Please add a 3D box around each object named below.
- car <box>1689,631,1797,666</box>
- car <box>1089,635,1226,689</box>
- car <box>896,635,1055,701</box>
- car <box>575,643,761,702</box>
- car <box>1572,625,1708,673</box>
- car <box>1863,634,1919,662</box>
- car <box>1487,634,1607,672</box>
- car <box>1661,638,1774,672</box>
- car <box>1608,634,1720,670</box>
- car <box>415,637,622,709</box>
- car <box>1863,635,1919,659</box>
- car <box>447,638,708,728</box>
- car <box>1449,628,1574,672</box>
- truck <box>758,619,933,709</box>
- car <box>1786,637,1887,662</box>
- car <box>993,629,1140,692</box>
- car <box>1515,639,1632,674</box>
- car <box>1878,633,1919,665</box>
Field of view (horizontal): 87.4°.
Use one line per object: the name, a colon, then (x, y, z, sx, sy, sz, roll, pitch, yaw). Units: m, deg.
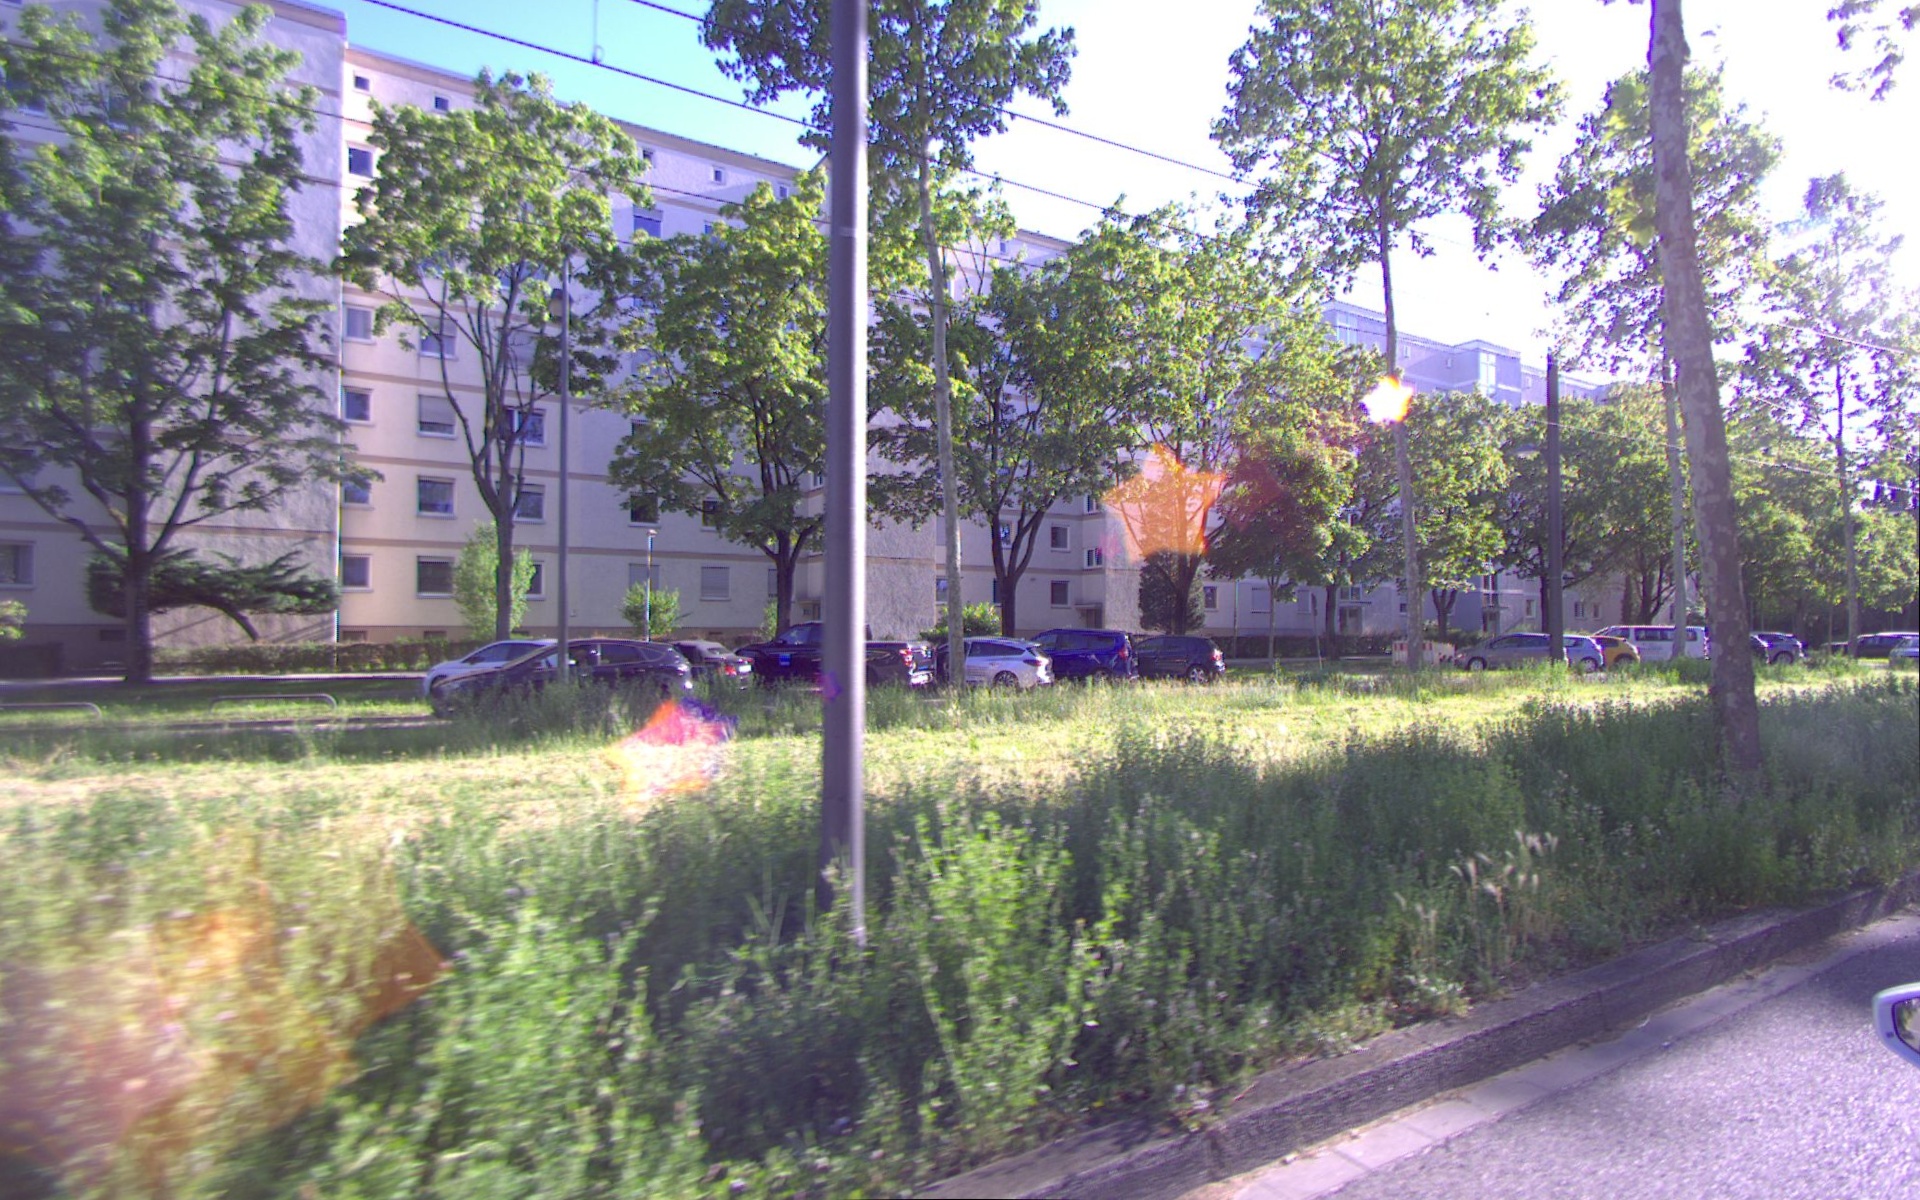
car: (38.580, 2.360, 49.550, 4.028, 1.628, 1.983, -2, -1, 43)
car: (6.092, 1.894, 30.945, 4.002, 1.496, 1.652, -1, 2, 14)
car: (0.452, 1.799, 26.860, 4.002, 1.667, 1.653, 0, -3, 12)
car: (-6.739, 1.653, 23.266, 3.750, 1.263, 1.841, -1, -2, 19)
car: (30.091, 2.137, 44.618, 4.706, 2.033, 1.891, -1, -1, 23)
car: (58.321, 2.950, 61.645, 3.900, 1.697, 1.788, -1, -2, 18)
car: (24.200, 2.177, 41.536, 4.004, 1.502, 1.652, -1, -2, 19)
car: (36.095, 2.604, 47.979, 4.010, 1.551, 1.816, -1, -1, 27)
car: (32.297, 2.372, 46.229, 4.009, 1.451, 1.577, 1, 0, 27)
car: (-9.539, 1.555, 21.833, 3.748, 1.454, 1.842, -1, -2, 11)
car: (60.280, 2.955, 63.869, 3.843, 1.507, 1.796, -1, -2, 18)
car: (-6.746, 1.379, 17.734, 4.115, 1.407, 1.986, 1, -2, -28)
car: (21.456, 1.949, 39.233, 4.004, 1.667, 1.652, -1, -3, 19)
truck: (-2.820, 1.507, 24.791, 4.008, 1.799, 1.649, 2, 5, 25)
car: (51.020, 2.869, 58.558, 4.050, 1.355, 1.796, -1, -1, 18)
car: (3.109, 1.736, 29.094, 4.003, 1.668, 1.652, -1, 0, 15)
car: (26.257, 2.400, 43.125, 4.004, 1.451, 1.580, -1, -2, 18)
car: (46.425, 2.377, 48.763, 3.804, 1.505, 1.638, 2, -3, -30)
